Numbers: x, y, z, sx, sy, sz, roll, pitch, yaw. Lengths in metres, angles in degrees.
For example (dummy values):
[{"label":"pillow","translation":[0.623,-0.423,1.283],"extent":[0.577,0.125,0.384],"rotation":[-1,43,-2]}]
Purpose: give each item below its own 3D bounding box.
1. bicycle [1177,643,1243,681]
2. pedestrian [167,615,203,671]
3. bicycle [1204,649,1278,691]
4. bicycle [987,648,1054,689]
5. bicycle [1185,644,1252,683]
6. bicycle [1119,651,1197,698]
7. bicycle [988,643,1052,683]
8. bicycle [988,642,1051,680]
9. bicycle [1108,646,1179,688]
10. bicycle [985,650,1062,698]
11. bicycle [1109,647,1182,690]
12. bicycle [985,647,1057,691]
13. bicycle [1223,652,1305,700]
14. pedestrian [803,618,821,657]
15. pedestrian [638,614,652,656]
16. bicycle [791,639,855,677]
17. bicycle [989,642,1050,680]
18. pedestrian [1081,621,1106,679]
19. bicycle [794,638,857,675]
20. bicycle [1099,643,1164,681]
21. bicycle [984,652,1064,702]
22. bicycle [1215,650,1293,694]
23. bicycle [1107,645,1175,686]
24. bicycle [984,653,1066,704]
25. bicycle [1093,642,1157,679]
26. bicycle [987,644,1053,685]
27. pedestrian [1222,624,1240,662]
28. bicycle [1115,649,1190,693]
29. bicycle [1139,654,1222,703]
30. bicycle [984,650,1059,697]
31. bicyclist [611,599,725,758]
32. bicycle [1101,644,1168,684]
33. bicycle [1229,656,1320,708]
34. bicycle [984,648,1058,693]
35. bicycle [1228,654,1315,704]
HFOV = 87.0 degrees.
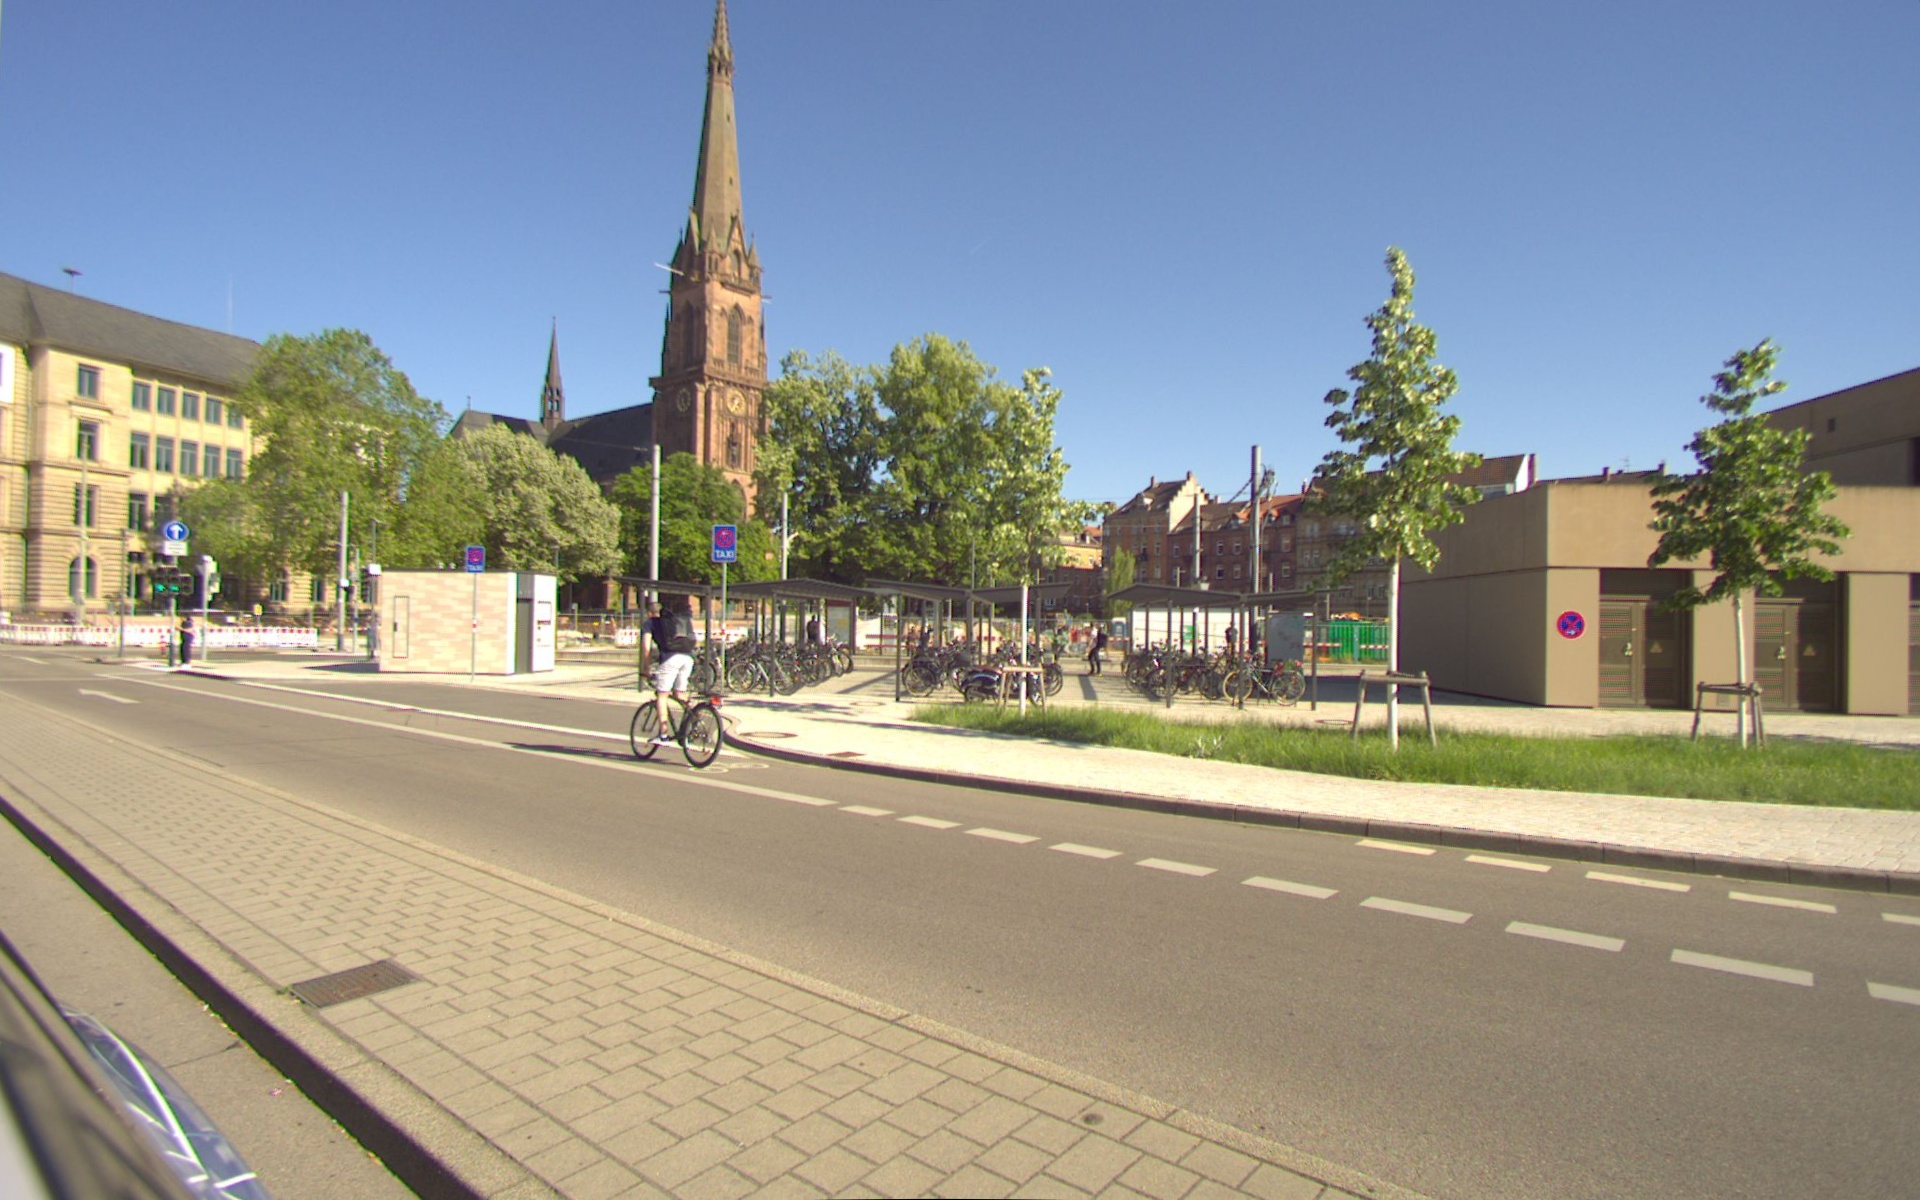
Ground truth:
[{"label":"bicycle","translation":[7.297,1.809,29.557],"extent":[1.764,1.046,0.567],"rotation":[1,-3,3]},{"label":"pedestrian","translation":[-24.139,1.322,31.516],"extent":[0.648,1.693,0.779],"rotation":[0,0,42]},{"label":"bicycle","translation":[7.352,1.826,26.555],"extent":[1.764,1.046,0.567],"rotation":[1,-3,3]},{"label":"bicycle","translation":[1.613,1.821,27.079],"extent":[1.764,1.046,0.567],"rotation":[1,-3,3]},{"label":"bicycle","translation":[7.362,1.812,28.842],"extent":[1.764,1.046,0.567],"rotation":[1,-3,3]},{"label":"bicycle","translation":[4.752,1.782,24.355],"extent":[1.764,1.046,0.567],"rotation":[1,-3,3]},{"label":"bicycle","translation":[1.680,1.764,28.448],"extent":[1.764,1.046,0.567],"rotation":[1,-3,3]},{"label":"bicycle","translation":[1.715,1.741,29.084],"extent":[1.764,1.046,0.567],"rotation":[1,-3,3]},{"label":"bicycle","translation":[4.876,1.765,26.903],"extent":[1.764,1.046,0.567],"rotation":[1,-3,3]},{"label":"bicycle","translation":[1.470,1.722,23.582],"extent":[1.764,1.046,0.567],"rotation":[1,-3,3]},{"label":"bicycle","translation":[4.794,1.771,26.181],"extent":[1.764,1.046,0.567],"rotation":[1,-3,3]},{"label":"bicycle","translation":[1.542,1.750,25.651],"extent":[1.764,1.046,0.567],"rotation":[1,-3,3]},{"label":"bicycle","translation":[7.140,1.776,23.811],"extent":[1.768,1.046,0.566],"rotation":[1,-3,11]},{"label":"pedestrian","translation":[-6.527,1.639,44.644],"extent":[0.518,1.667,0.560],"rotation":[0,0,41]},{"label":"pedestrian","translation":[-13.223,1.477,42.468],"extent":[0.529,1.736,0.684],"rotation":[0,-6,-20]},{"label":"bicycle","translation":[-3.996,1.690,29.582],"extent":[1.764,1.046,0.567],"rotation":[1,-3,3]},{"label":"bicycle","translation":[1.735,1.776,29.720],"extent":[1.764,1.046,0.567],"rotation":[1,-3,3]},{"label":"pedestrian","translation":[4.100,1.524,31.041],"extent":[0.672,1.736,0.617],"rotation":[1,-1,2]},{"label":"bicycle","translation":[-4.013,1.684,30.214],"extent":[1.764,1.046,0.567],"rotation":[1,-3,3]},{"label":"bicycle","translation":[4.919,1.776,29.036],"extent":[1.764,1.046,0.567],"rotation":[1,-3,3]},{"label":"bicycle","translation":[1.453,1.738,22.977],"extent":[1.764,1.046,0.567],"rotation":[1,-3,3]},{"label":"bicycle","translation":[7.323,1.786,25.270],"extent":[1.764,1.046,0.567],"rotation":[1,-3,3]},{"label":"bicycle","translation":[4.927,1.776,27.621],"extent":[1.764,1.046,0.567],"rotation":[1,-3,3]},{"label":"bicycle","translation":[1.420,1.714,22.314],"extent":[1.764,1.046,0.567],"rotation":[1,-3,3]},{"label":"bicycle","translation":[4.840,1.769,29.749],"extent":[1.764,1.046,0.567],"rotation":[1,-3,3]},{"label":"bicycle","translation":[1.640,1.765,27.846],"extent":[1.764,1.046,0.567],"rotation":[1,-3,3]},{"label":"pedestrian","translation":[10.963,1.736,40.987],"extent":[0.581,1.530,0.559],"rotation":[1,-2,5]},{"label":"bicycle","translation":[4.813,1.776,25.352],"extent":[1.764,1.046,0.567],"rotation":[1,-3,3]},{"label":"bicycle","translation":[5.011,1.777,23.066],"extent":[1.764,1.046,0.567],"rotation":[1,-3,3]},{"label":"bicycle","translation":[1.469,1.758,24.325],"extent":[1.764,1.046,0.567],"rotation":[1,-3,3]},{"label":"bicyclist","translation":[-3.163,0.820,10.956],"extent":[0.977,1.633,0.712],"rotation":[-1,-3,40]},{"label":"bicycle","translation":[4.895,1.785,28.415],"extent":[1.764,1.046,0.567],"rotation":[1,-3,3]},{"label":"bicycle","translation":[6.737,1.754,21.705],"extent":[1.764,1.046,0.567],"rotation":[1,-3,3]},{"label":"bicycle","translation":[1.493,1.737,24.963],"extent":[1.764,1.046,0.567],"rotation":[1,-3,3]},{"label":"bicycle","translation":[6.951,1.754,22.642],"extent":[1.764,1.046,0.567],"rotation":[1,-3,3]}]
